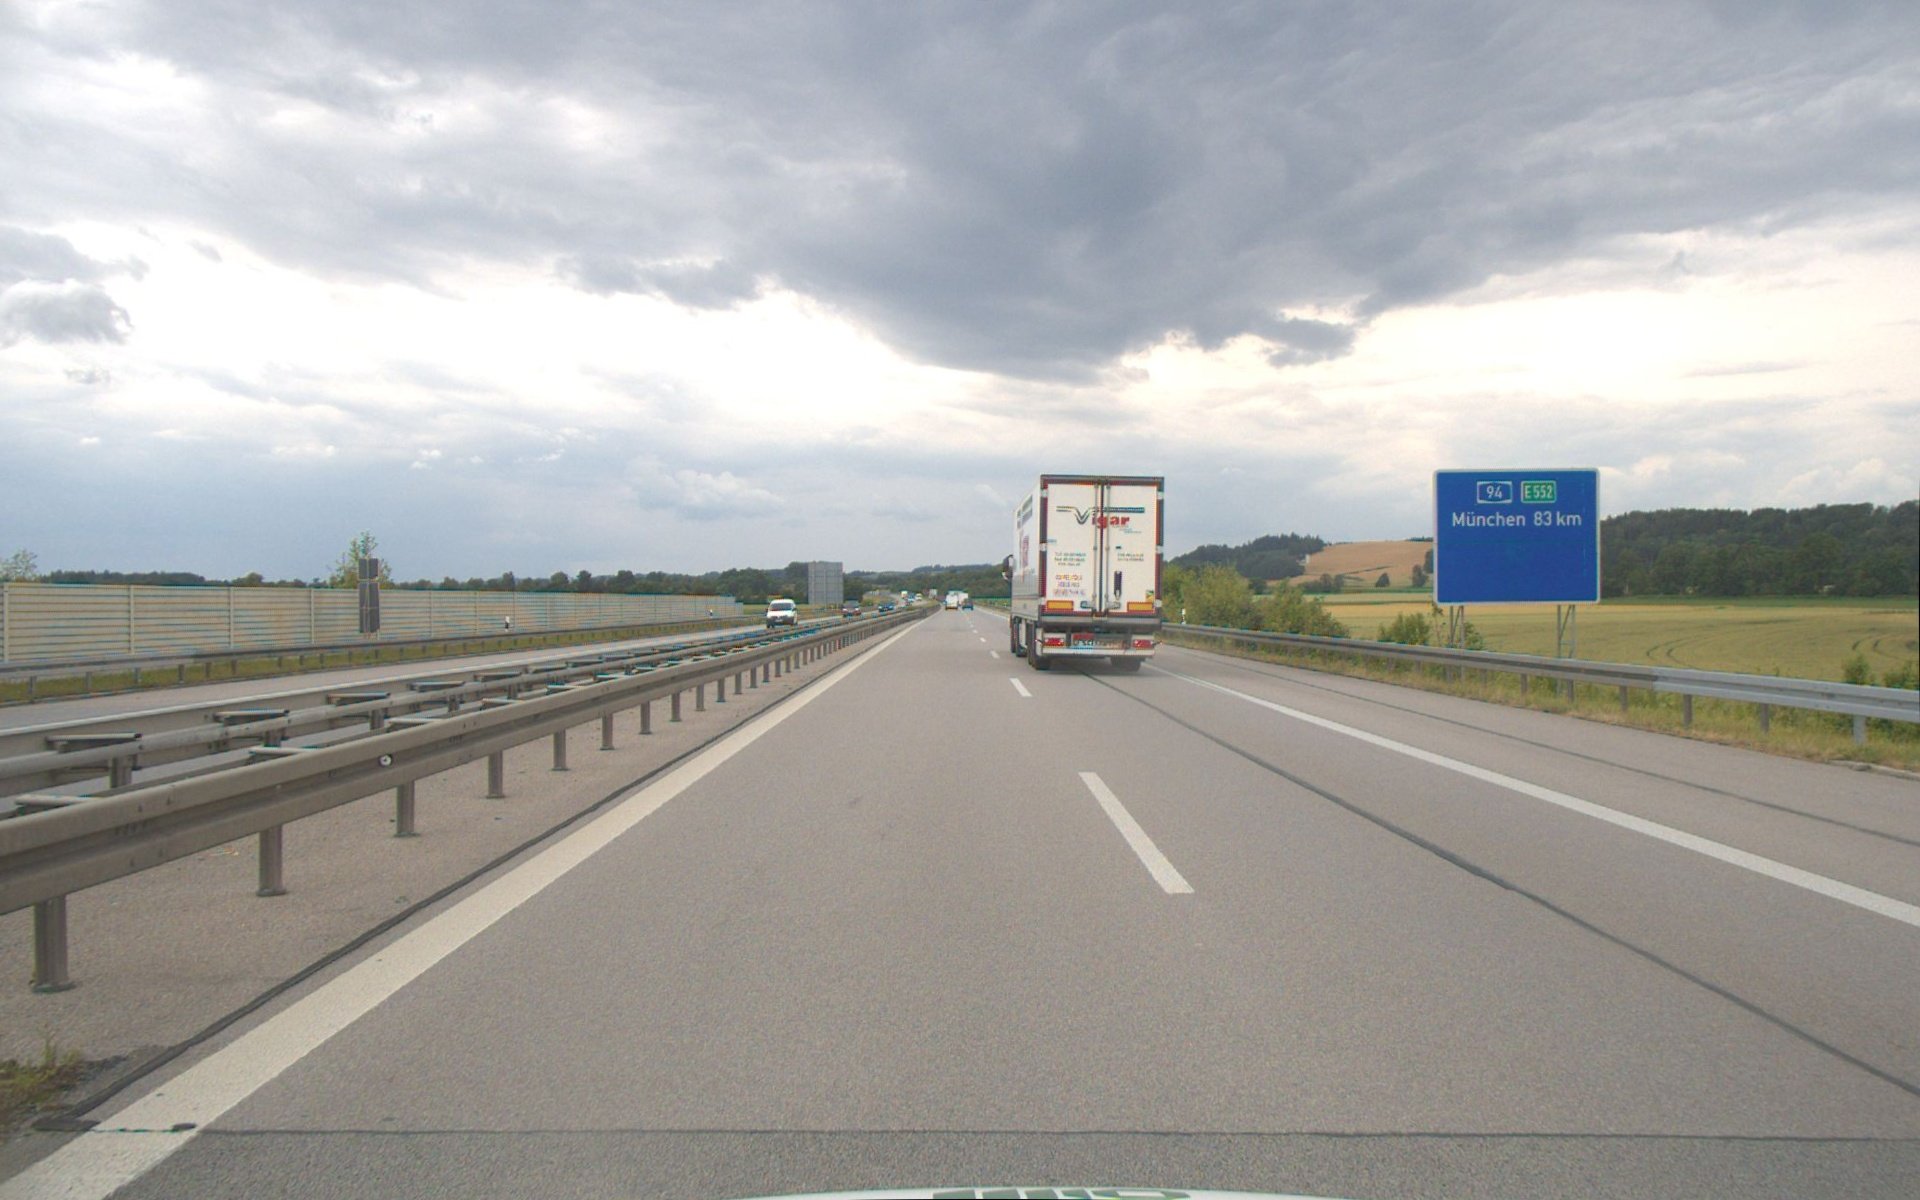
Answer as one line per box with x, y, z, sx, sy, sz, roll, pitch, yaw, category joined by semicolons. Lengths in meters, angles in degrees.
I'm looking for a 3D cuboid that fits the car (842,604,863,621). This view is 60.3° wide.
-11.266;1.267;172.897;1.857;1.660;4.174;-3;0;0;car

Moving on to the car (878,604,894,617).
-9.985;1.463;222.829;1.857;1.660;4.174;-3;0;0;car

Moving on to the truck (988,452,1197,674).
2.808;-0.784;41.558;3.598;4.489;16.337;0;0;-1;truck

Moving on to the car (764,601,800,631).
-11.533;1.004;107.471;1.720;1.772;4.913;-3;0;0;car
